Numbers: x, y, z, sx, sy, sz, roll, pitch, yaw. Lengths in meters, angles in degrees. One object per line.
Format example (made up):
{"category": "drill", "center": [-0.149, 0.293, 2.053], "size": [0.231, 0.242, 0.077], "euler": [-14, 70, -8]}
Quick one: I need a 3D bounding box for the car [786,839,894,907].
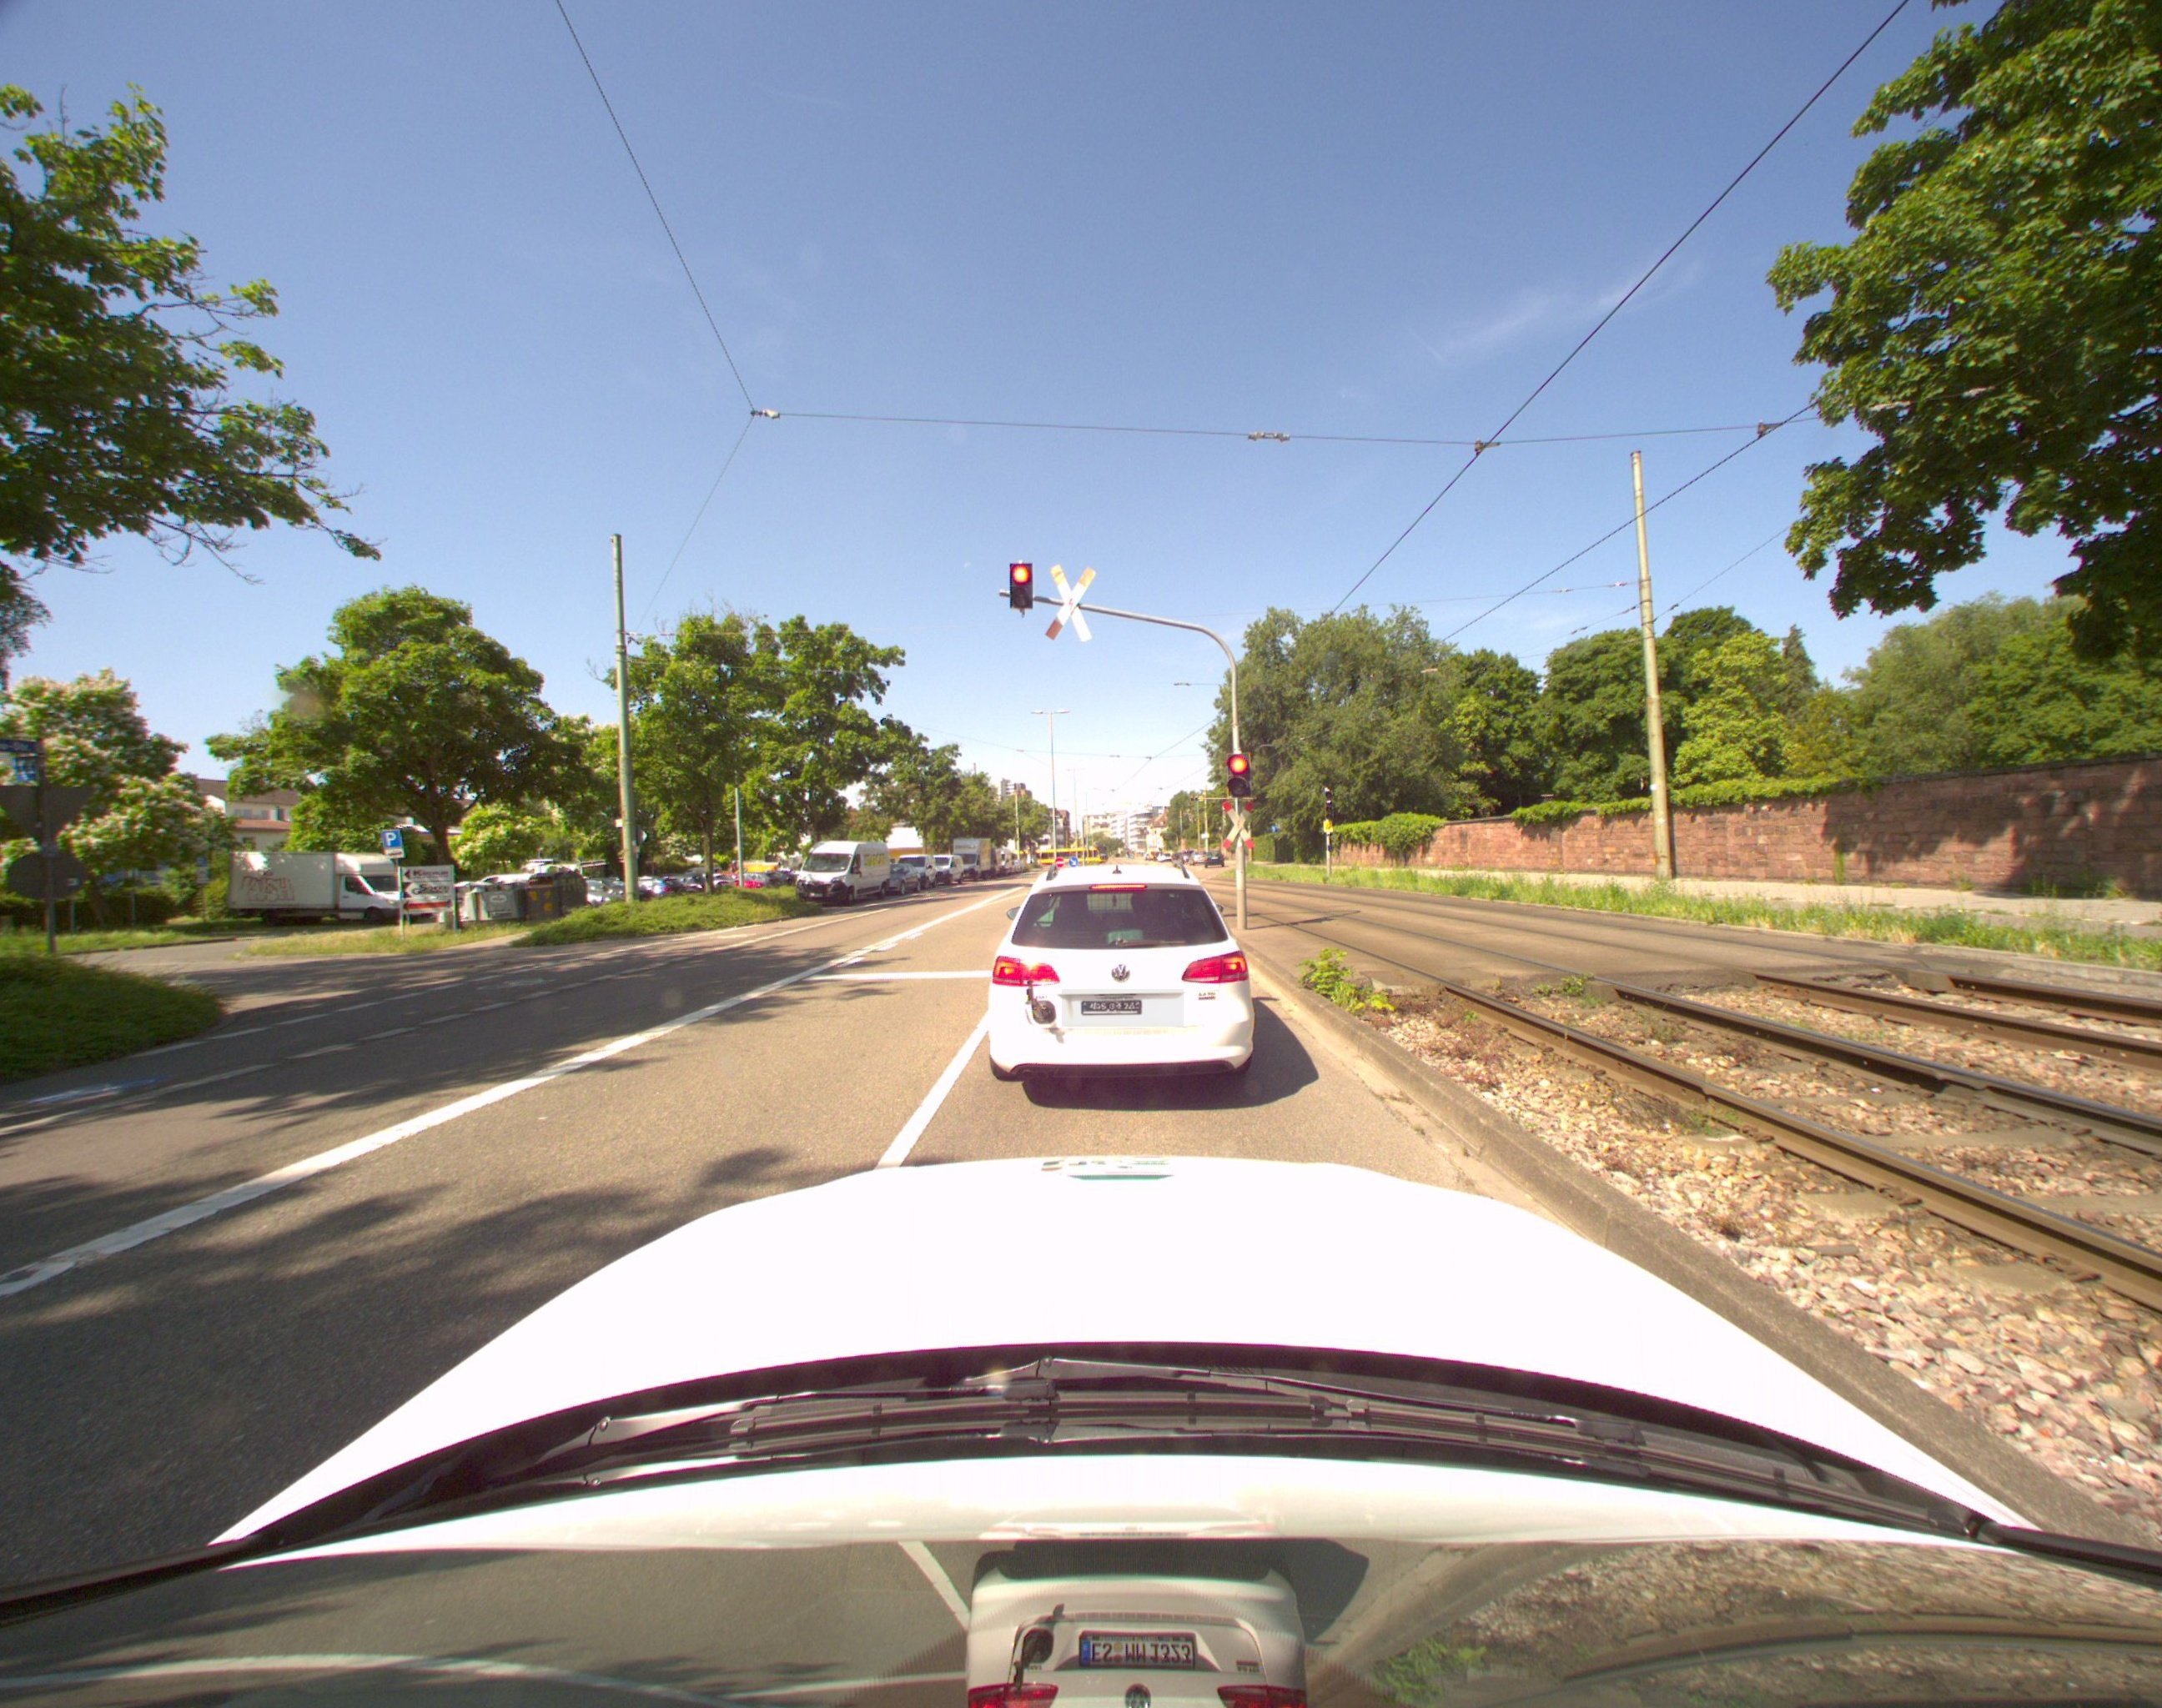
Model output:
{"category": "car", "center": [-9.569, 0.670, 33.043], "size": [2.049, 2.501, 6.315], "euler": [0, 0, 4]}

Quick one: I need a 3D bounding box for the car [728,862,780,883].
{"category": "car", "center": [-31.372, 1.755, 78.213], "size": [4.249, 2.014, 1.997], "euler": [0, -1, -5]}

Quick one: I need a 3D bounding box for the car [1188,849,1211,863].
{"category": "car", "center": [12.295, 0.192, 84.548], "size": [1.854, 1.416, 4.326], "euler": [0, 0, 1]}

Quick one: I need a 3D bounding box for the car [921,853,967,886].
{"category": "car", "center": [-8.796, 0.949, 52.654], "size": [1.836, 1.960, 5.137], "euler": [-3, 0, 2]}

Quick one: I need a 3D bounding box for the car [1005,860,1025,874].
{"category": "car", "center": [-7.433, 1.443, 92.088], "size": [1.837, 1.433, 4.039], "euler": [-3, 0, 2]}

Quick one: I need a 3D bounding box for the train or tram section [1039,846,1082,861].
{"category": "train or tram section", "center": [-4.515, -0.053, 174.015], "size": [10.671, 3.253, 2.322], "euler": [-1, -1, 43]}

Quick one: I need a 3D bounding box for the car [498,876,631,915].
{"category": "car", "center": [-19.982, 1.591, 31.617], "size": [3.974, 1.225, 1.771], "euler": [-3, 0, 0]}

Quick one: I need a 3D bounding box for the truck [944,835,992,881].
{"category": "truck", "center": [-8.302, 0.296, 60.670], "size": [2.348, 3.122, 6.892], "euler": [-3, 0, 1]}

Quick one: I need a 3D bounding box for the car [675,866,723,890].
{"category": "car", "center": [-34.288, 2.145, 73.159], "size": [3.412, 1.876, 1.552], "euler": [-3, 0, -1]}

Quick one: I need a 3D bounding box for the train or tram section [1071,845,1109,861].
{"category": "train or tram section", "center": [1.755, -0.176, 165.972], "size": [2.316, 3.253, 11.164], "euler": [0, -1, -30]}

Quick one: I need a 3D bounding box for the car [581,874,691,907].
{"category": "car", "center": [-20.063, 1.621, 36.845], "size": [3.969, 1.225, 1.773], "euler": [-3, 0, 4]}

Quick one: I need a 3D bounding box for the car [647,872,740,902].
{"category": "car", "center": [-20.303, 1.714, 42.726], "size": [3.969, 1.350, 1.773], "euler": [-3, 0, 4]}

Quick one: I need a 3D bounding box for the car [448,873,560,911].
{"category": "car", "center": [-32.153, 2.119, 45.497], "size": [4.683, 2.014, 1.997], "euler": [0, -1, -4]}

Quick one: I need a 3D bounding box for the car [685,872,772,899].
{"category": "car", "center": [-19.472, 1.715, 45.097], "size": [3.969, 1.264, 1.773], "euler": [-3, 0, 4]}

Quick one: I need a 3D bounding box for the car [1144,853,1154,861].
{"category": "car", "center": [15.390, 0.704, 184.572], "size": [1.986, 1.596, 4.002], "euler": [0, -1, 2]}

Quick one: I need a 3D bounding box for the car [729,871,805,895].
{"category": "car", "center": [-19.393, 1.795, 50.394], "size": [3.969, 1.225, 1.773], "euler": [-3, 0, 4]}

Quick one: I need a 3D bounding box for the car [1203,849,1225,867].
{"category": "car", "center": [11.183, 0.316, 68.486], "size": [1.735, 1.388, 3.923], "euler": [-1, 0, 9]}

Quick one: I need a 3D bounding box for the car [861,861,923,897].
{"category": "car", "center": [-9.030, 1.173, 39.267], "size": [1.837, 1.516, 4.199], "euler": [-3, 0, 2]}

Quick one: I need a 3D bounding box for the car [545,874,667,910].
{"category": "car", "center": [-19.869, 1.568, 34.180], "size": [3.974, 1.225, 1.771], "euler": [-3, 0, 0]}

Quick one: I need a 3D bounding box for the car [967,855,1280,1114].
{"category": "car", "center": [0.276, 0.741, 6.570], "size": [1.762, 1.446, 3.914], "euler": [0, 0, 1]}

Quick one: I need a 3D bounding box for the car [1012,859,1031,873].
{"category": "car", "center": [-7.048, 1.415, 97.175], "size": [1.774, 1.433, 4.039], "euler": [-3, 0, 2]}

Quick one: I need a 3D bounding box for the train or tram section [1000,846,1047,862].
{"category": "train or tram section", "center": [-12.732, 0.056, 180.023], "size": [10.879, 3.253, 2.323], "euler": [-1, -1, 29]}

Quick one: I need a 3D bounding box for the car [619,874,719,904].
{"category": "car", "center": [-20.215, 1.687, 40.076], "size": [3.969, 1.225, 1.773], "euler": [-3, 0, 4]}

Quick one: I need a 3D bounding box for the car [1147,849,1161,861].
{"category": "car", "center": [15.171, 0.234, 170.061], "size": [2.454, 2.499, 5.912], "euler": [0, -1, 1]}

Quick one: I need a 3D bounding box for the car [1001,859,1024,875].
{"category": "car", "center": [-7.187, 1.355, 86.029], "size": [1.837, 1.433, 4.039], "euler": [-3, 0, 2]}

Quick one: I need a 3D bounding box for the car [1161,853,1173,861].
{"category": "car", "center": [13.762, 0.517, 130.577], "size": [1.576, 1.346, 3.455], "euler": [0, -1, 1]}

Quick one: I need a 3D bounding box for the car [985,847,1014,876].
{"category": "car", "center": [-7.585, 0.645, 76.270], "size": [1.836, 2.494, 5.860], "euler": [-3, 0, 2]}

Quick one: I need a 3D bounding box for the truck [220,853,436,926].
{"category": "truck", "center": [-32.443, 1.502, 35.253], "size": [7.119, 3.019, 2.231], "euler": [0, 0, -1]}

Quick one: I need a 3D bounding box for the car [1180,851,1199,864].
{"category": "car", "center": [12.916, 0.382, 97.520], "size": [1.854, 1.513, 3.914], "euler": [0, 0, 1]}

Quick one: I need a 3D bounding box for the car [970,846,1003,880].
{"category": "car", "center": [-7.899, 0.711, 68.601], "size": [1.836, 2.668, 5.006], "euler": [-3, 0, 2]}

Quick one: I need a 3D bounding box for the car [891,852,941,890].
{"category": "car", "center": [-9.222, 0.929, 46.019], "size": [1.839, 1.937, 5.189], "euler": [-3, 0, -2]}

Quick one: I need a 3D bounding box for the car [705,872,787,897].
{"category": "car", "center": [-19.600, 1.762, 47.760], "size": [3.969, 1.225, 1.773], "euler": [-3, 0, 4]}

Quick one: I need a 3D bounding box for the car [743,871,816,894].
{"category": "car", "center": [-19.482, 1.816, 52.653], "size": [3.969, 1.225, 1.773], "euler": [-3, 0, 4]}

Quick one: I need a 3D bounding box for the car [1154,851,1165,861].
{"category": "car", "center": [14.623, 0.406, 152.115], "size": [1.685, 1.812, 3.455], "euler": [0, -1, 1]}

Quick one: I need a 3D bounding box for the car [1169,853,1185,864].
{"category": "car", "center": [13.020, 0.620, 110.379], "size": [1.739, 1.407, 3.914], "euler": [0, 0, 1]}
